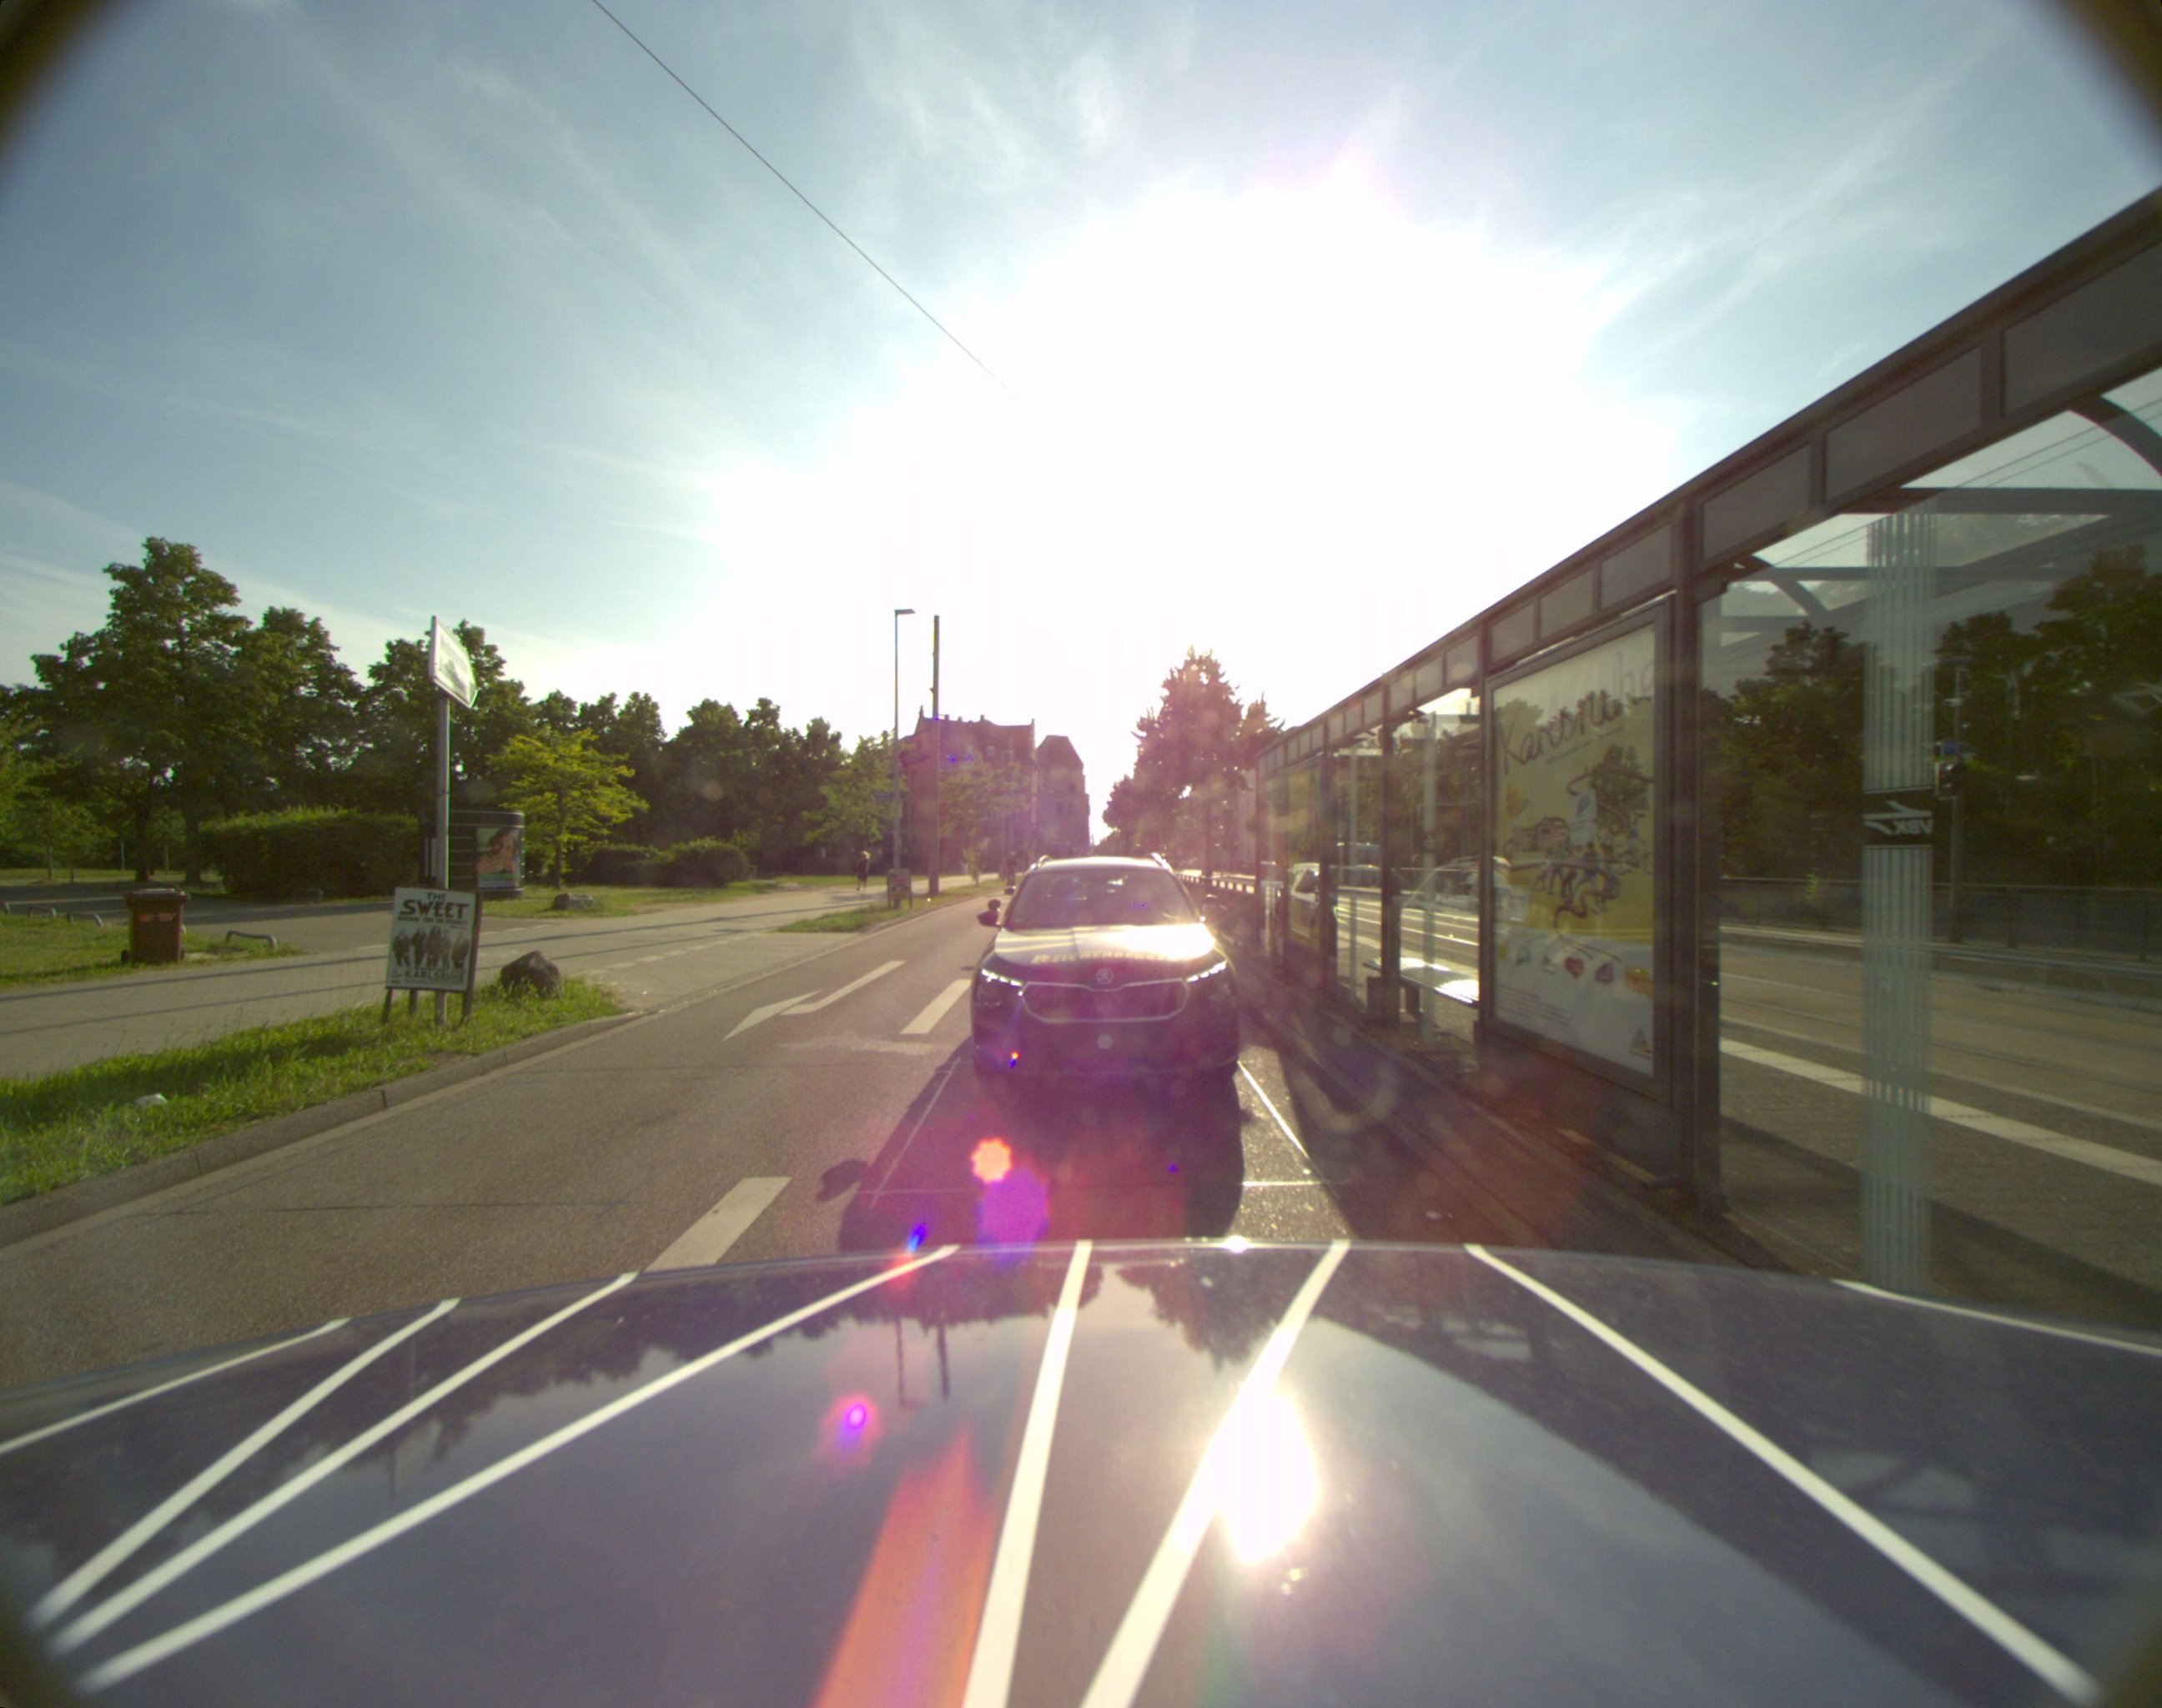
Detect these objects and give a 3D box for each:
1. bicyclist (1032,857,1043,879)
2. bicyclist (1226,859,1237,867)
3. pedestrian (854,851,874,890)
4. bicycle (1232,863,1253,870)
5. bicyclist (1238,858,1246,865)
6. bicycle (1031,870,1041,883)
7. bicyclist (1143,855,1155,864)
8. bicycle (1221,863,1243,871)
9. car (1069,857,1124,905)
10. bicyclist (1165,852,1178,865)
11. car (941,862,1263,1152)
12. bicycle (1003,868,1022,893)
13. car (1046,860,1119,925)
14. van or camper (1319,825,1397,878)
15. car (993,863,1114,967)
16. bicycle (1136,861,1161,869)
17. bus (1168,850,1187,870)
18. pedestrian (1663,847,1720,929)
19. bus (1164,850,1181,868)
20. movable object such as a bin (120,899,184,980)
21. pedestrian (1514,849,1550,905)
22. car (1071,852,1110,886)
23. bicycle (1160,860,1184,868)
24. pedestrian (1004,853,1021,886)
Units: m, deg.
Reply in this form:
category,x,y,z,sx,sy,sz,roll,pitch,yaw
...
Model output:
category,x,y,z,sx,sy,sz,roll,pitch,yaw
bicyclist,-2.972,0.963,51.635,0.689,1.445,1.111,0,0,0
bicyclist,18.303,1.123,92.520,1.217,1.018,0.671,0,0,4
pedestrian,-9.365,0.707,32.855,0.621,1.675,0.618,-2,1,1
bicycle,19.893,1.525,93.547,2.536,0.876,0.631,0,0,6
bicyclist,19.823,0.929,93.544,0.896,0.908,0.617,0,0,6
bicycle,-3.069,1.519,51.697,0.567,0.789,2.041,0,0,0
bicyclist,8.152,0.661,90.849,1.402,1.000,0.888,0,0,-1
bicycle,18.421,1.577,92.549,2.536,0.876,0.631,0,0,5
car,0.548,0.898,27.020,1.756,1.534,4.235,-1,0,1
bicyclist,11.303,0.553,94.986,1.402,1.538,0.888,0,0,-1
car,0.152,0.878,6.343,1.756,1.534,4.235,-1,0,1
bicycle,-3.170,1.222,35.344,0.652,1.040,1.980,-2,1,0
car,0.072,0.976,20.979,1.756,1.534,4.235,-1,0,1
van or camper,16.878,-0.177,46.739,2.527,2.951,6.411,-2,1,1
car,-0.370,0.931,13.338,1.756,1.451,4.235,-1,0,1
bicycle,8.054,1.318,90.725,2.962,0.974,0.879,0,0,-2
bus,18.056,1.100,142.492,2.437,3.415,9.261,-2,1,1
pedestrian,12.984,0.708,16.171,0.621,1.675,0.618,3,1,1
bus,18.199,0.999,151.758,2.437,3.415,9.261,-2,1,1
movable object such as a bin,-11.427,1.032,9.359,0.603,0.912,0.457,1,1,42
pedestrian,13.739,0.693,23.142,0.621,1.675,0.618,3,1,1
car,0.478,0.675,37.360,1.756,1.534,4.235,-1,0,1
bicycle,11.364,1.291,94.998,2.962,0.974,0.879,0,0,-2
pedestrian,-3.192,0.728,35.521,0.637,1.512,0.845,-2,1,0
